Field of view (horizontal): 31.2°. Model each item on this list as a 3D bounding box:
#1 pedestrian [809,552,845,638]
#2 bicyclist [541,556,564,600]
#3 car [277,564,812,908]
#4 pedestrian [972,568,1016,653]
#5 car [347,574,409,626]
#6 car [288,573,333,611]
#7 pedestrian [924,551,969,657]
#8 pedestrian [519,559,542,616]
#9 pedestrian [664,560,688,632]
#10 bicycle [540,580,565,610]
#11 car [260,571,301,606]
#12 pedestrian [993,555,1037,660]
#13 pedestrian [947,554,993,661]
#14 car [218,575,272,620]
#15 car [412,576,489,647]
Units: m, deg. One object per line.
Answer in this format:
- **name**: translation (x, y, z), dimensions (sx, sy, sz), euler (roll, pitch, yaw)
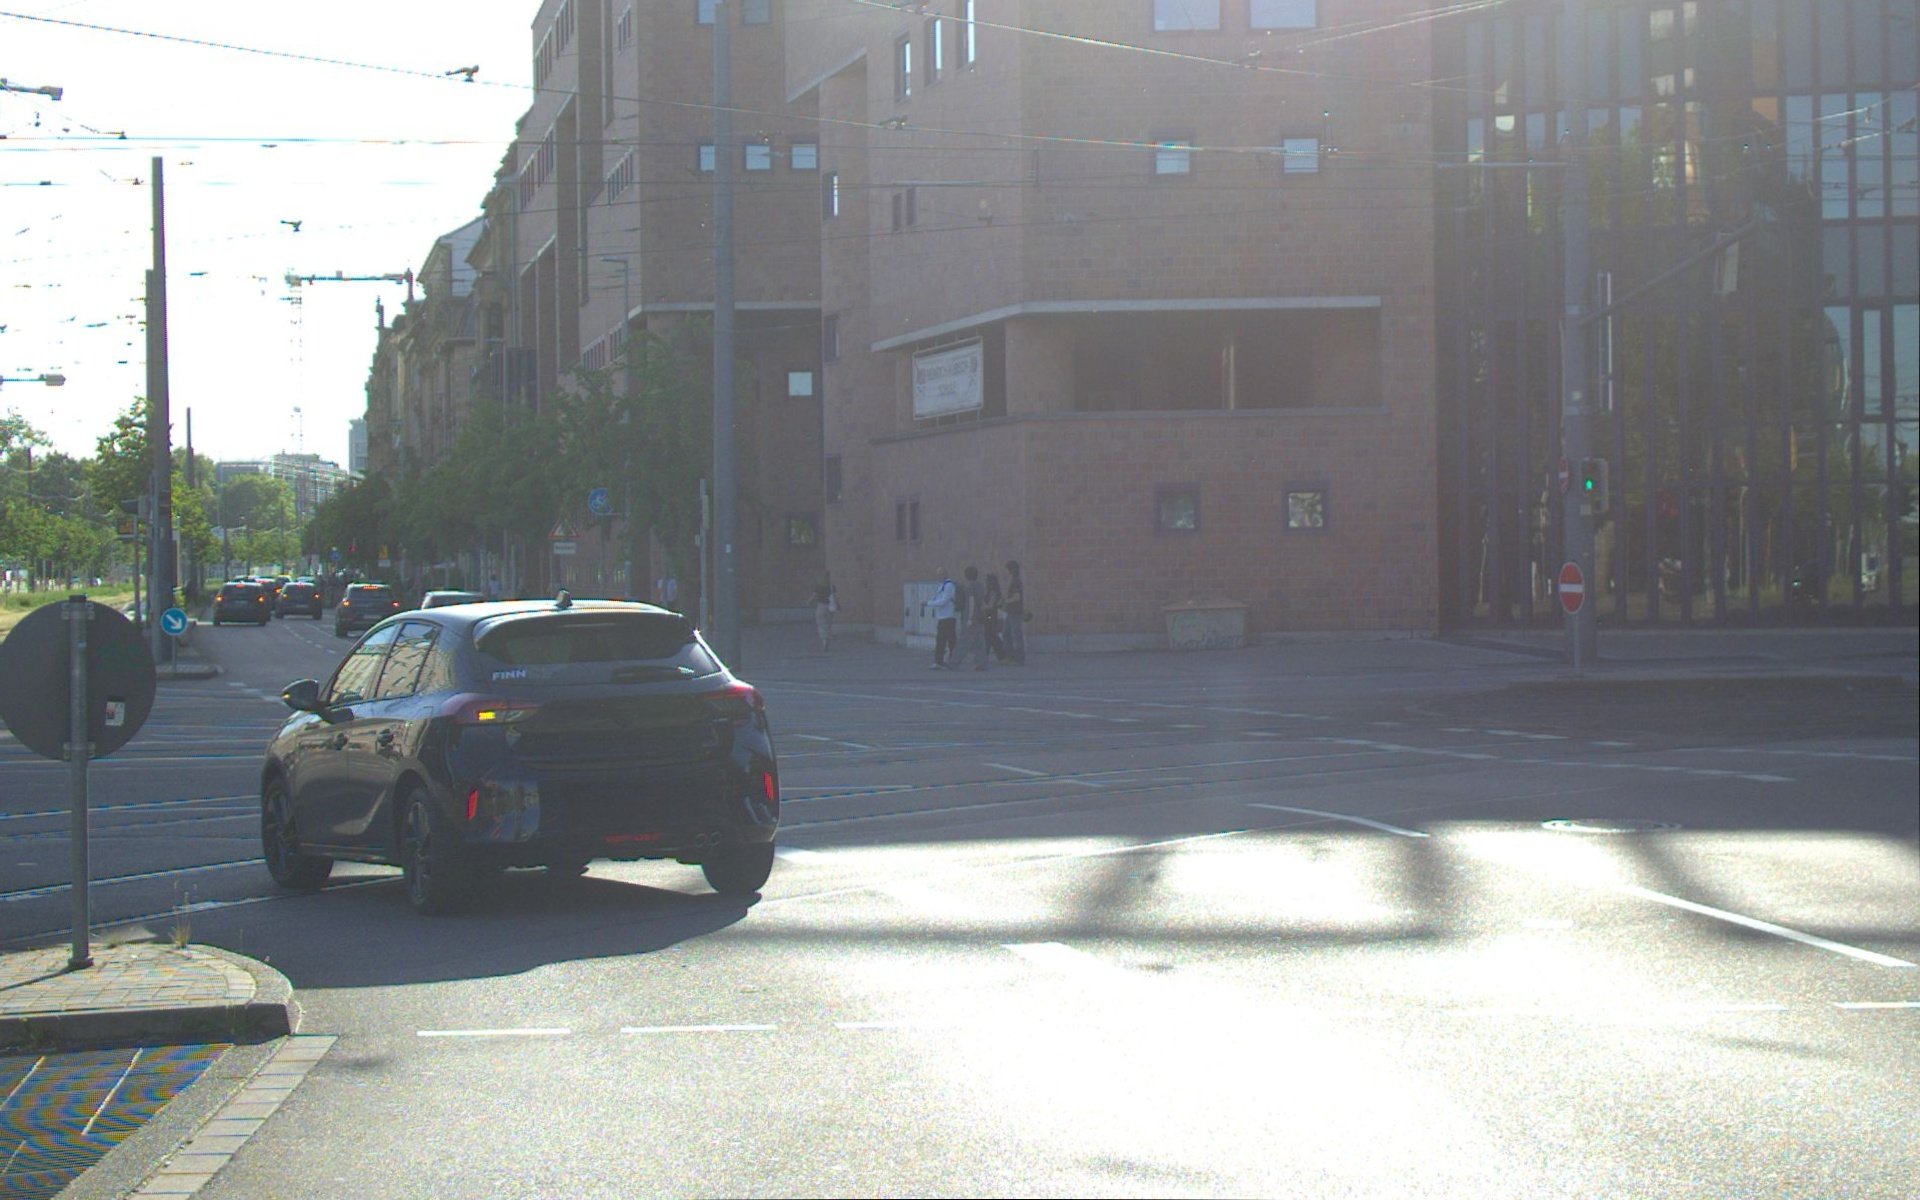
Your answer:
- **pedestrian**: translation (-2.793, -0.100, 72.143), dimensions (0.640, 1.780, 0.688), euler (-1, 1, -8)
- **bicyclist**: translation (-12.658, -0.686, 106.825), dimensions (0.645, 1.335, 0.653), euler (-1, 0, -10)
- **car**: translation (-2.185, 0.592, 17.182), dimensions (1.671, 1.496, 3.691), euler (1, 1, -23)
- **pedestrian**: translation (0.598, 0.179, 59.895), dimensions (0.547, 1.472, 0.573), euler (-1, 1, -29)
- **car**: translation (-17.125, -0.009, 101.088), dimensions (1.670, 1.448, 3.699), euler (-2, 1, -11)
- **car**: translation (-26.228, -0.339, 138.753), dimensions (1.720, 1.448, 3.699), euler (-2, 1, -11)
- **pedestrian**: translation (-0.231, 0.067, 58.299), dimensions (0.571, 1.780, 0.549), euler (-2, 1, -19)
- **pedestrian**: translation (-13.678, -0.408, 109.375), dimensions (0.640, 1.780, 0.688), euler (-2, 1, -10)
- **pedestrian**: translation (-7.110, -0.104, 86.069), dimensions (0.547, 1.780, 0.573), euler (-1, 3, -8)
- **bicycle**: translation (-12.660, -0.171, 106.851), dimensions (0.648, 0.901, 2.346), euler (-1, 1, -10)
- **car**: translation (-29.619, -0.498, 149.880), dimensions (1.720, 1.448, 3.699), euler (-2, 1, -11)
- **pedestrian**: translation (0.947, 0.121, 59.067), dimensions (0.571, 1.780, 0.549), euler (-2, 1, -19)
- **pedestrian**: translation (0.168, 0.124, 57.721), dimensions (0.571, 1.780, 0.549), euler (-2, 1, -19)
- **car**: translation (-24.648, -0.102, 118.629), dimensions (1.720, 1.448, 3.699), euler (-2, 1, -11)
- **car**: translation (-10.910, 0.222, 73.547), dimensions (1.559, 1.451, 3.432), euler (-1, 1, -9)
